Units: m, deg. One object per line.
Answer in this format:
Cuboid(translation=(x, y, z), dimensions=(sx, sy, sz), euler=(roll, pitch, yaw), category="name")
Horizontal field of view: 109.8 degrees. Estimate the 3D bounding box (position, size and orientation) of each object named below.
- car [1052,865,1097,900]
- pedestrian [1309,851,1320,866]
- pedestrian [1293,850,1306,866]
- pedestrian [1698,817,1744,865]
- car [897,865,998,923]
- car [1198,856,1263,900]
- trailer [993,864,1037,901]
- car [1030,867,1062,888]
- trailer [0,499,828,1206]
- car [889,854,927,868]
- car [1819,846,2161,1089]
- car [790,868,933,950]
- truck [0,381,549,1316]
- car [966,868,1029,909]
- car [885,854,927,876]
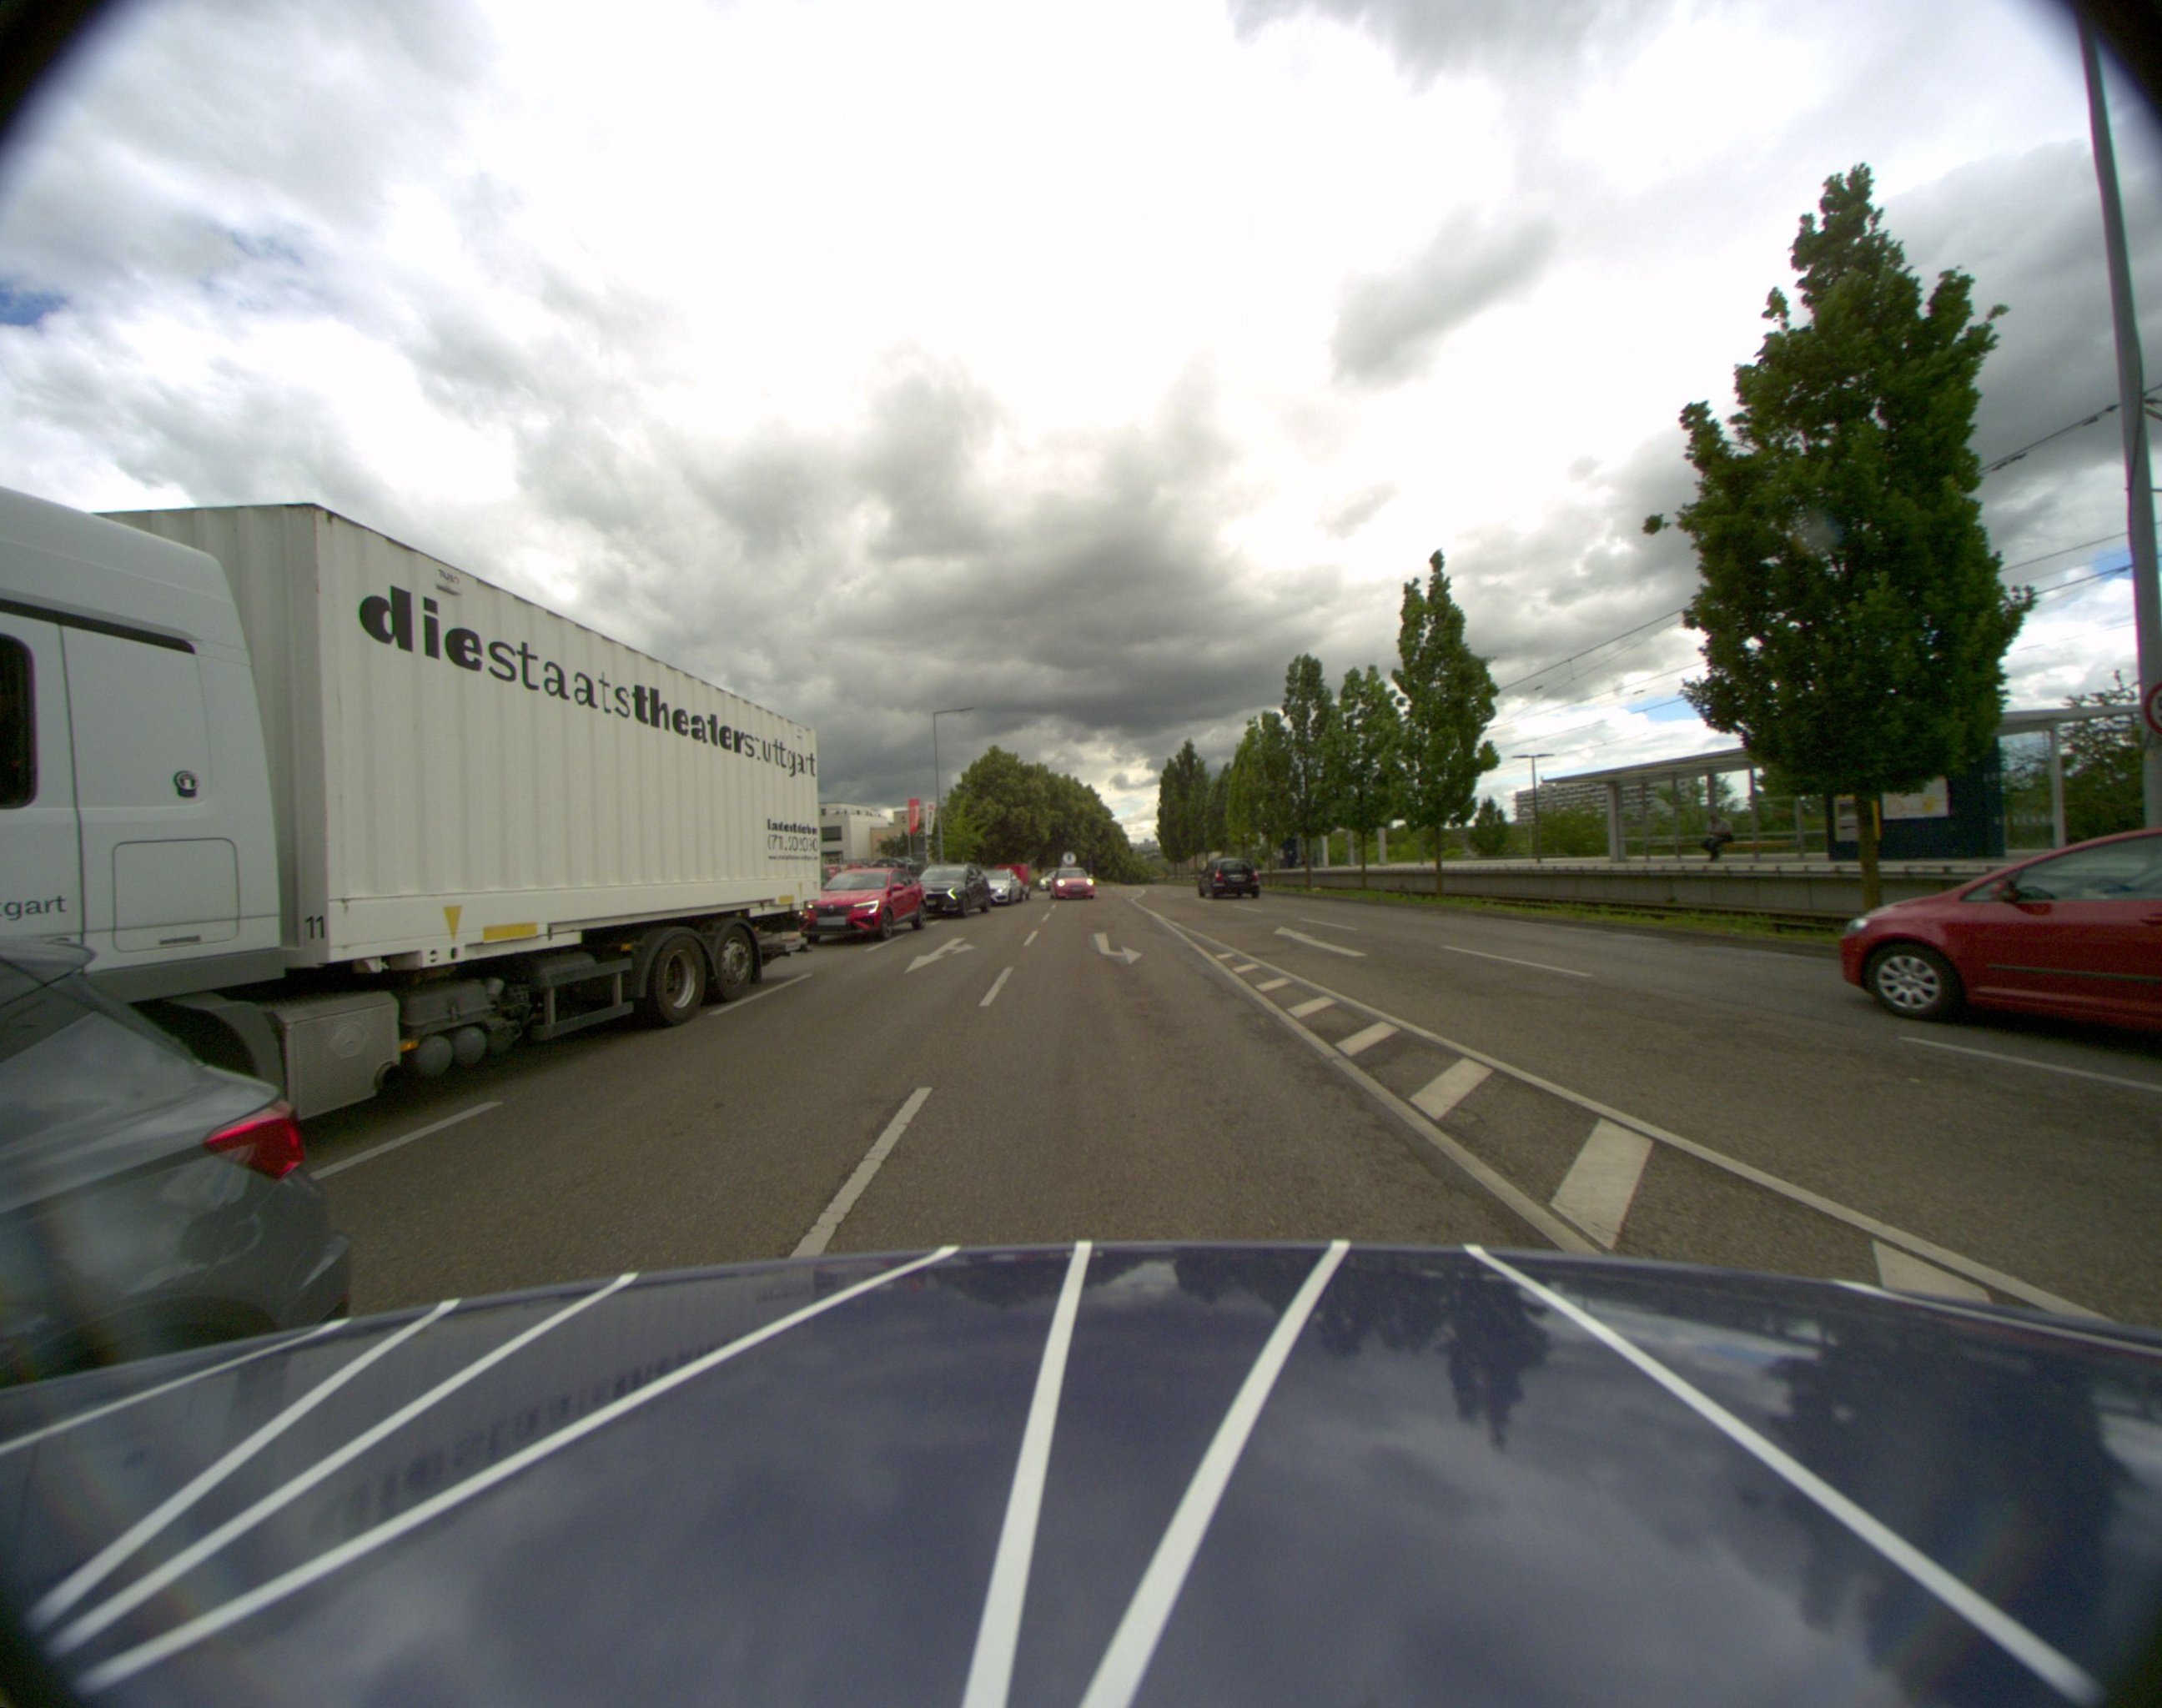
Cuboid(translation=(-0.351, 1.250, 34.568), dimensions=(1.723, 1.448, 3.695), euler=(-2, -1, -5), category="car")
Cuboid(translation=(17.288, 0.314, 56.317), dimensions=(0.608, 1.072, 0.470), euler=(-2, -2, 0), category="pedestrian")
Cuboid(translation=(16.453, 0.303, 57.309), dimensions=(0.763, 1.192, 0.665), euler=(-2, -1, 0), category="pedestrian")
Cuboid(translation=(17.487, -0.339, 20.787), dimensions=(0.611, 1.261, 0.660), euler=(-2, -2, -4), category="pedestrian")
Cuboid(translation=(-4.063, 1.180, 23.963), dimensions=(1.848, 1.552, 4.407), euler=(-2, 0, 7), category="car")
Cuboid(translation=(5.835, 0.912, 30.063), dimensions=(1.730, 1.564, 3.707), euler=(-2, -1, -1), category="car")
Cuboid(translation=(-2.974, 1.271, 34.702), dimensions=(1.412, 1.584, 3.305), euler=(-2, -1, 5), category="trailer")
Cuboid(translation=(-2.428, 1.666, 53.783), dimensions=(1.739, 1.365, 4.003), euler=(-2, -2, 5), category="car")
Cuboid(translation=(-5.382, 0.048, 7.907), dimensions=(2.572, 3.683, 7.765), euler=(-2, 0, 2), category="trailer")
Cuboid(translation=(-19.818, 0.839, 87.100), dimensions=(3.762, 1.355, 1.757), euler=(-3, -2, 10), category="car")
Cuboid(translation=(7.482, 0.685, 4.699), dimensions=(1.707, 1.479, 4.086), euler=(-2, -1, -3), category="car")
Cuboid(translation=(-4.809, 1.141, 17.335), dimensions=(1.711, 1.515, 4.321), euler=(-2, 0, 4), category="car")
Cuboid(translation=(-5.513, 0.003, 3.837), dimensions=(2.577, 3.683, 4.107), euler=(-2, 0, 2), category="truck")
Cuboid(translation=(-3.284, 1.331, 30.808), dimensions=(1.675, 1.439, 4.491), euler=(-2, -1, 5), category="car")
Cuboid(translation=(-17.646, 1.118, 76.677), dimensions=(3.762, 1.946, 1.645), euler=(-3, -2, 10), category="car")
